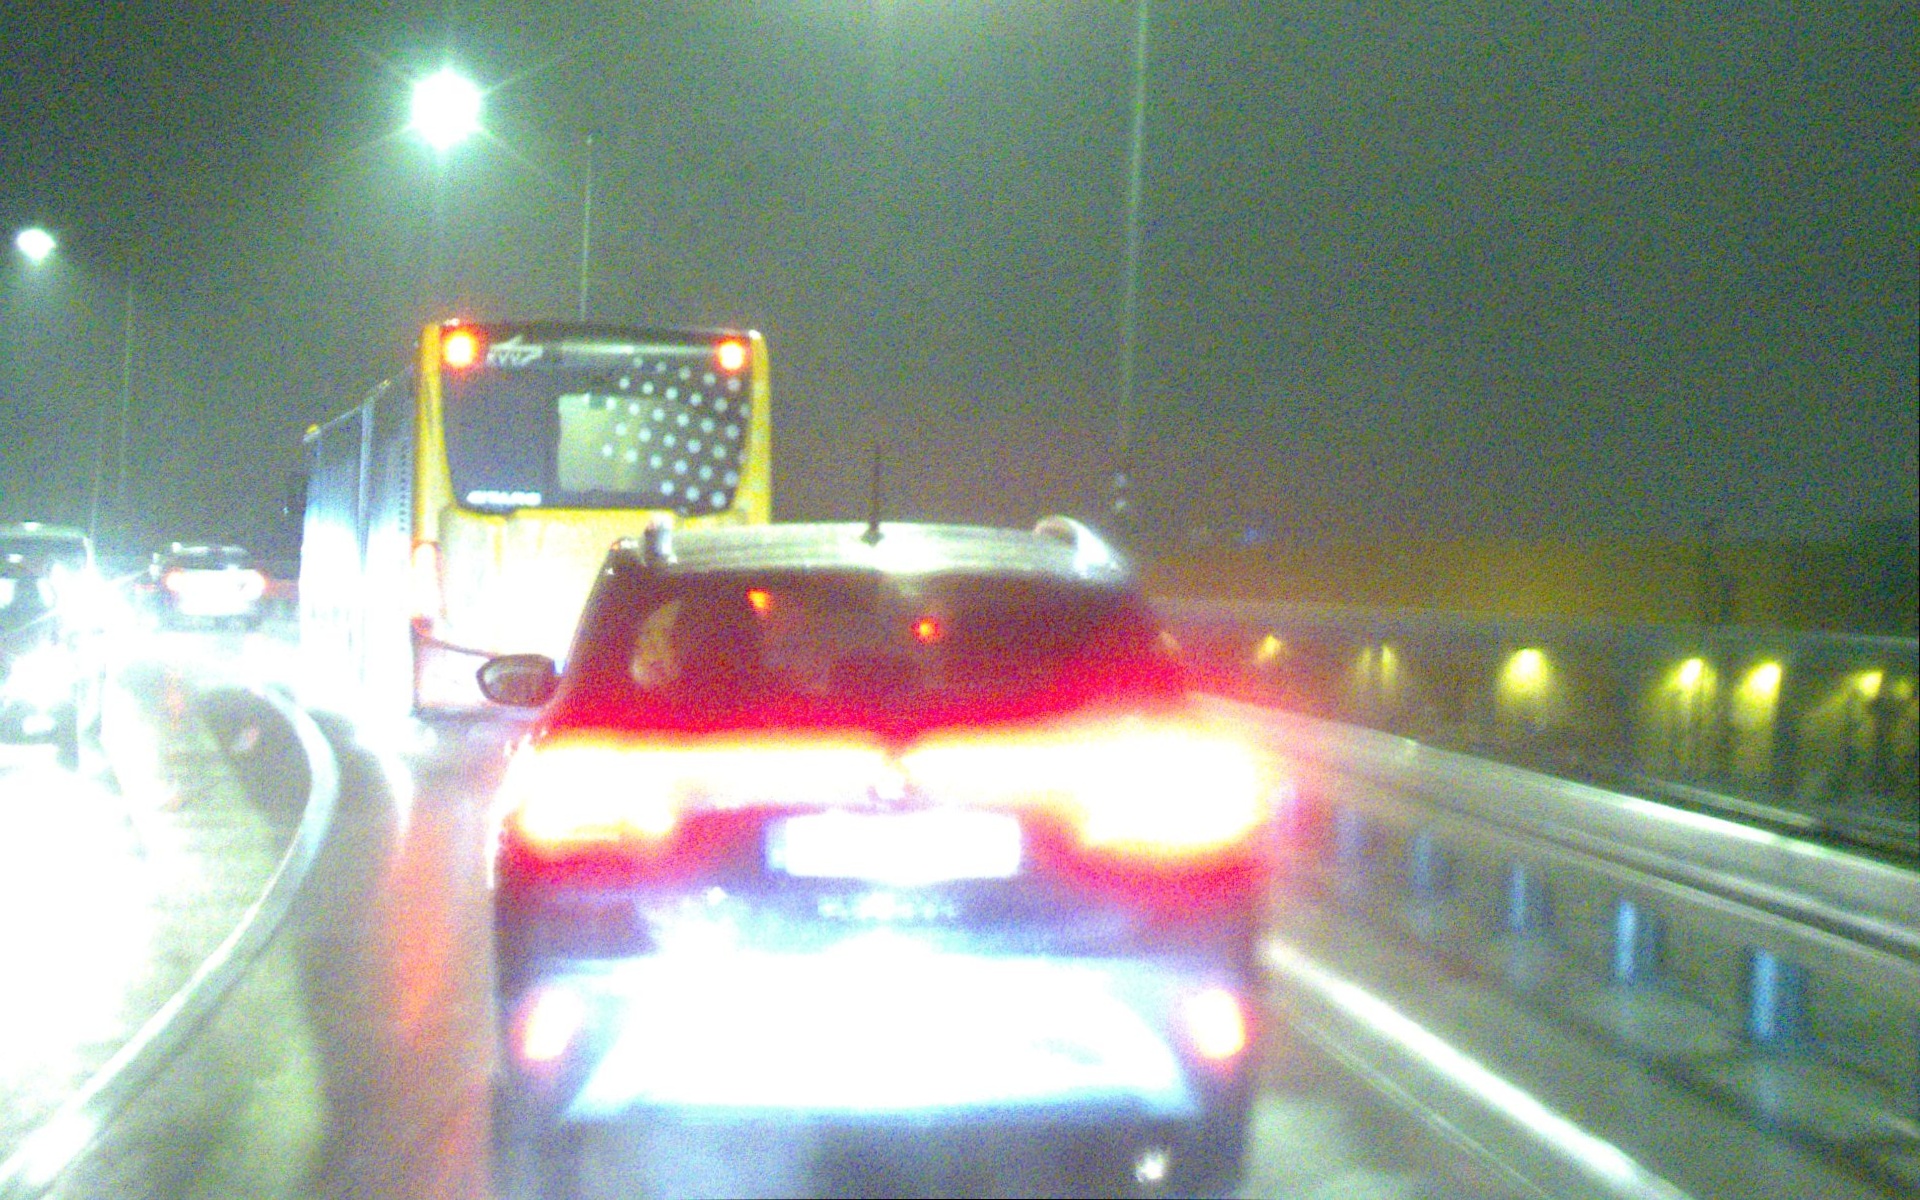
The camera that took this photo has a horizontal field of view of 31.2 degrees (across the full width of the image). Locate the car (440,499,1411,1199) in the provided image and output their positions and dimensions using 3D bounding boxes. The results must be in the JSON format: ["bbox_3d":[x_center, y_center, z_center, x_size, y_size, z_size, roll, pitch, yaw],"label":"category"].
[{"bbox_3d":[-0.347,0.565,8.953,1.855,1.581,4.001,2,1,-10],"label":"car"}]

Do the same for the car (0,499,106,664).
[{"bbox_3d":[-11.171,-0.247,40.903,1.753,1.854,4.001,-1,1,-16],"label":"car"}]

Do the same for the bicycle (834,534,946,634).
[{"bbox_3d":[-0.759,-0.177,36.579,0.484,1.031,2.172,1,0,-20],"label":"bicycle"}]

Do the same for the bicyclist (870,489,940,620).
[{"bbox_3d":[-0.579,-0.482,36.101,0.452,1.345,0.765,1,1,-21],"label":"bicyclist"}]

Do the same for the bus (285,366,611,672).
[{"bbox_3d":[-6.100,-0.951,39.807,3.048,3.121,8.081,1,1,-13],"label":"bus"}]

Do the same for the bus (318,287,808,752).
[{"bbox_3d":[-3.840,-0.685,29.607,3.082,3.122,12.701,0,1,-12],"label":"bus"}]

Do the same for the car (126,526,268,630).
[{"bbox_3d":[-13.021,-0.347,58.533,1.636,1.650,3.710,-3,0,-23],"label":"car"}]

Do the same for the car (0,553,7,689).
[{"bbox_3d":[-15.536,0.293,52.731,1.666,2.007,4.001,0,1,-17],"label":"car"}]

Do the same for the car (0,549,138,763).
[{"bbox_3d":[-7.165,0.353,25.103,1.814,1.399,4.049,0,1,-7],"label":"car"}]
